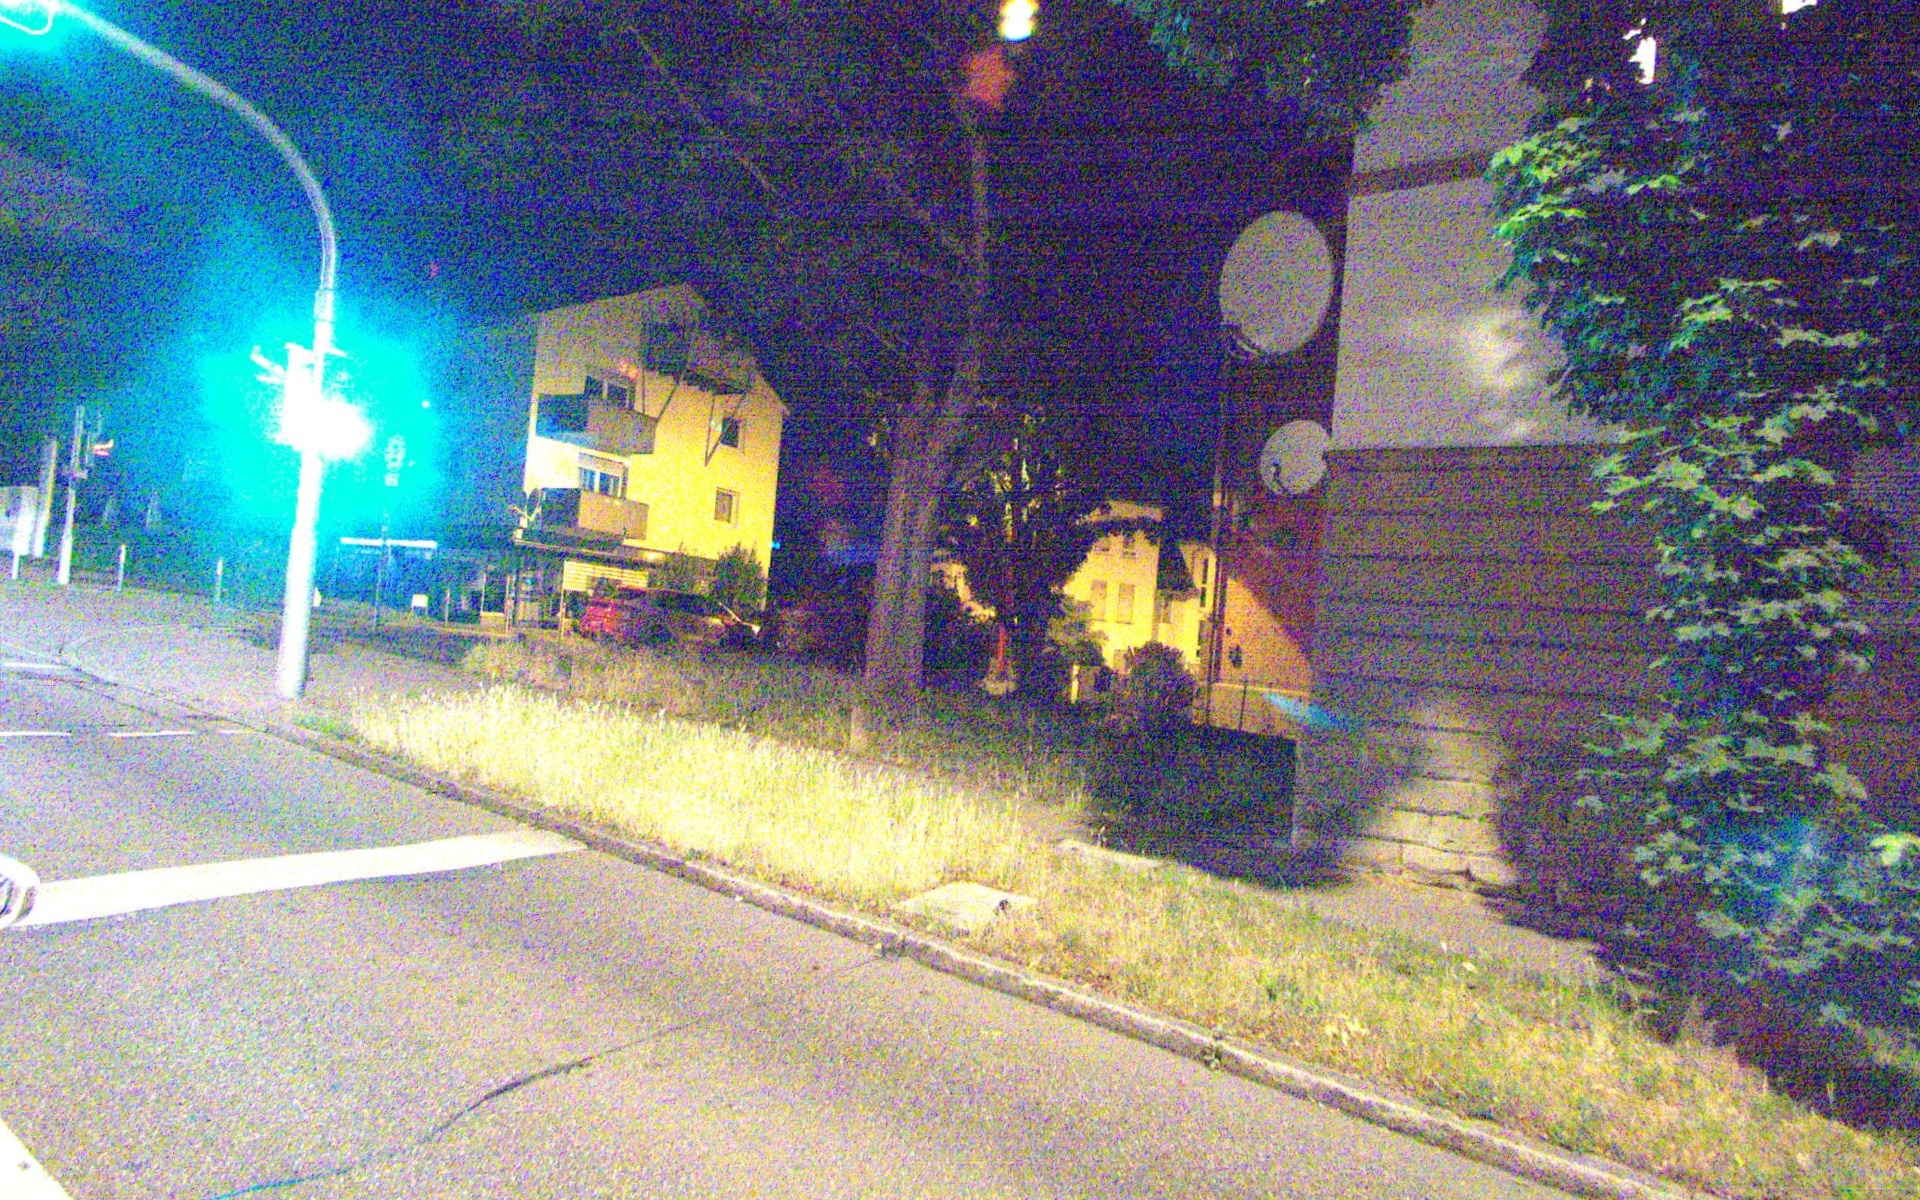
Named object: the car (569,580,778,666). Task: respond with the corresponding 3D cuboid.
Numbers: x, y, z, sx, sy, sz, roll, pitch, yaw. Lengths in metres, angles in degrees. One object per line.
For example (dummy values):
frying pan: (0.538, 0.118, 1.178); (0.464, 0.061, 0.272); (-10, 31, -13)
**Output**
car: (-6.506, 0.581, 23.294); (1.778, 1.577, 4.366); (3, -3, 38)
